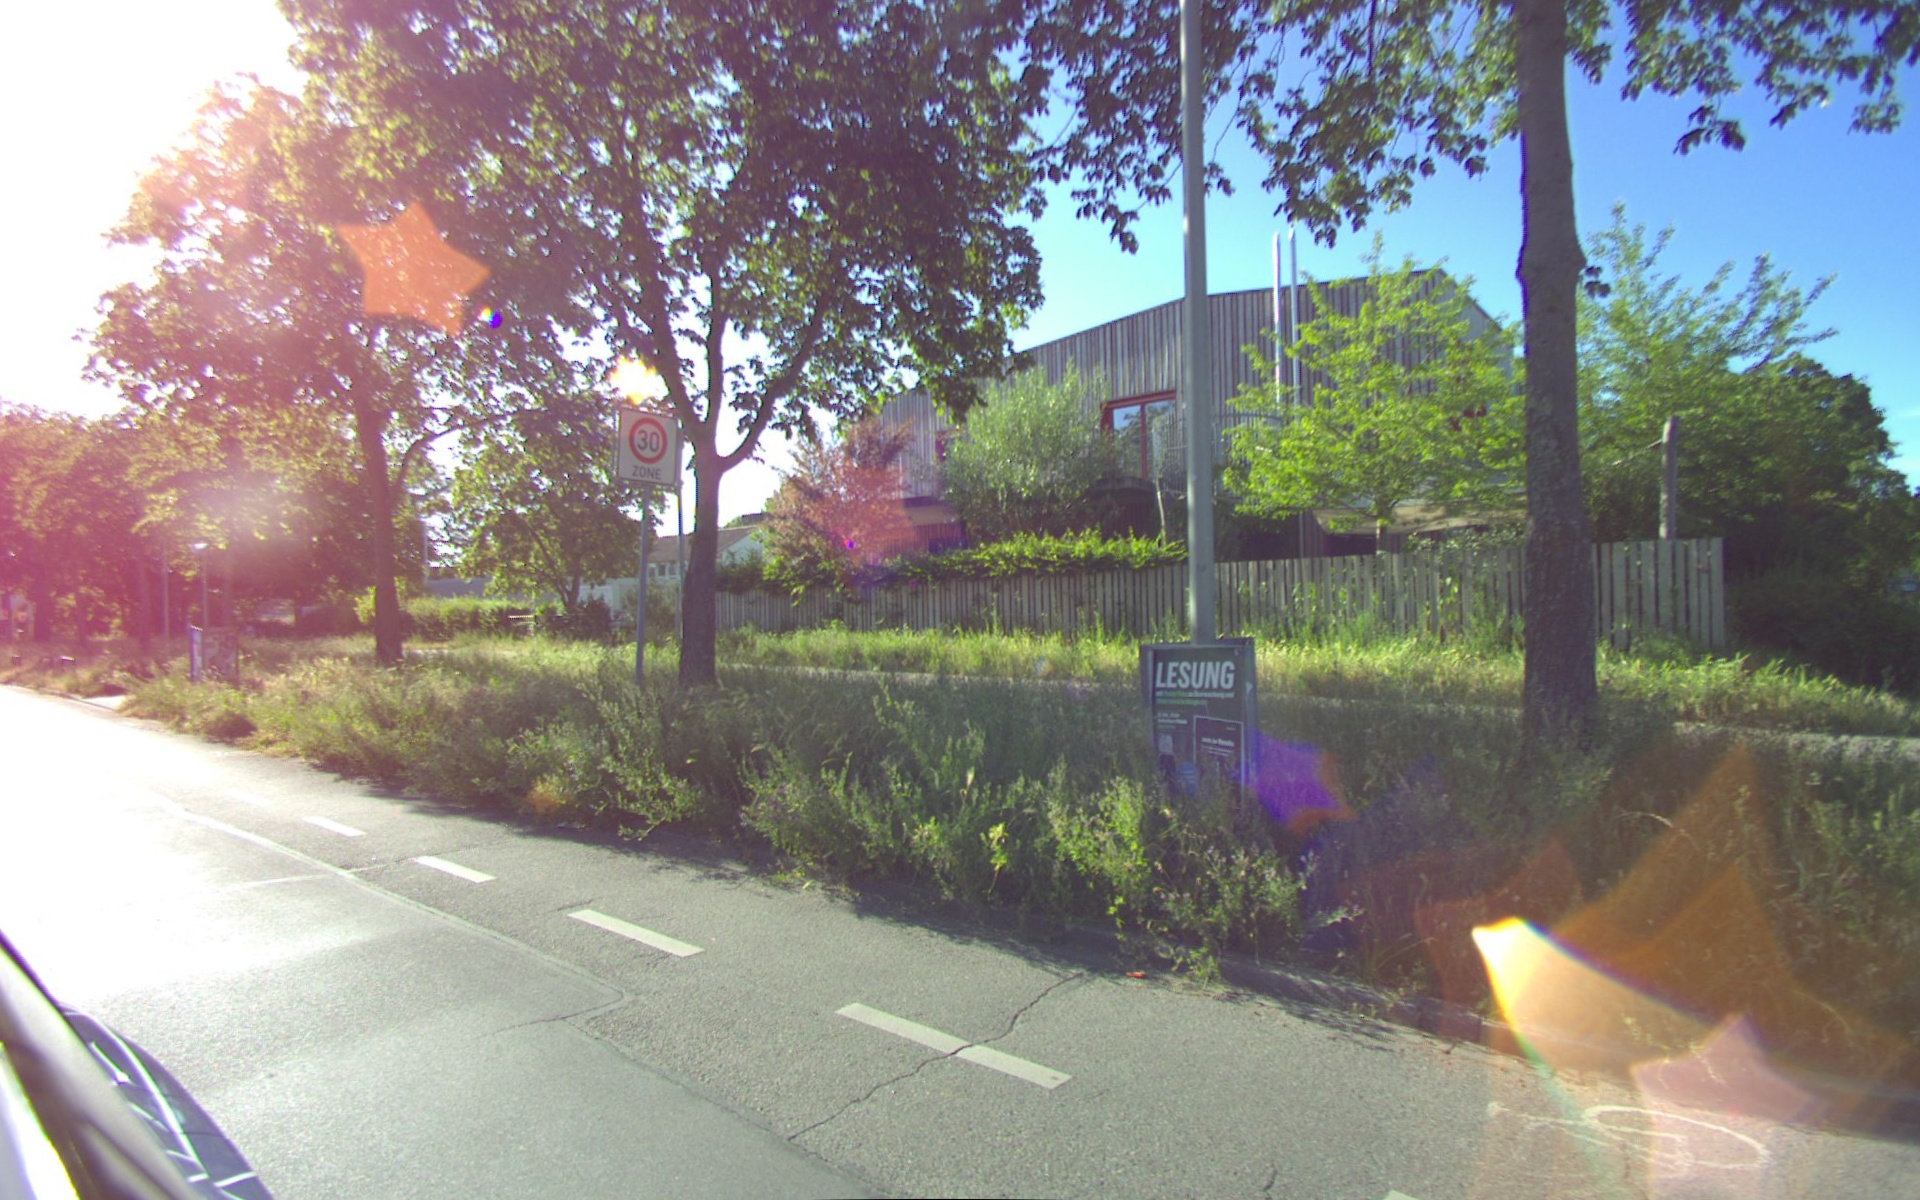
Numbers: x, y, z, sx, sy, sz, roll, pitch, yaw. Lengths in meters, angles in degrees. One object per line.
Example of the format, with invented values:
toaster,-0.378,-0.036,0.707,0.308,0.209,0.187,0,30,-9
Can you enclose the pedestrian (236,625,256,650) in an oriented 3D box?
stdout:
pedestrian,-34.825,1.819,49.354,0.521,1.166,0.632,-1,2,39
